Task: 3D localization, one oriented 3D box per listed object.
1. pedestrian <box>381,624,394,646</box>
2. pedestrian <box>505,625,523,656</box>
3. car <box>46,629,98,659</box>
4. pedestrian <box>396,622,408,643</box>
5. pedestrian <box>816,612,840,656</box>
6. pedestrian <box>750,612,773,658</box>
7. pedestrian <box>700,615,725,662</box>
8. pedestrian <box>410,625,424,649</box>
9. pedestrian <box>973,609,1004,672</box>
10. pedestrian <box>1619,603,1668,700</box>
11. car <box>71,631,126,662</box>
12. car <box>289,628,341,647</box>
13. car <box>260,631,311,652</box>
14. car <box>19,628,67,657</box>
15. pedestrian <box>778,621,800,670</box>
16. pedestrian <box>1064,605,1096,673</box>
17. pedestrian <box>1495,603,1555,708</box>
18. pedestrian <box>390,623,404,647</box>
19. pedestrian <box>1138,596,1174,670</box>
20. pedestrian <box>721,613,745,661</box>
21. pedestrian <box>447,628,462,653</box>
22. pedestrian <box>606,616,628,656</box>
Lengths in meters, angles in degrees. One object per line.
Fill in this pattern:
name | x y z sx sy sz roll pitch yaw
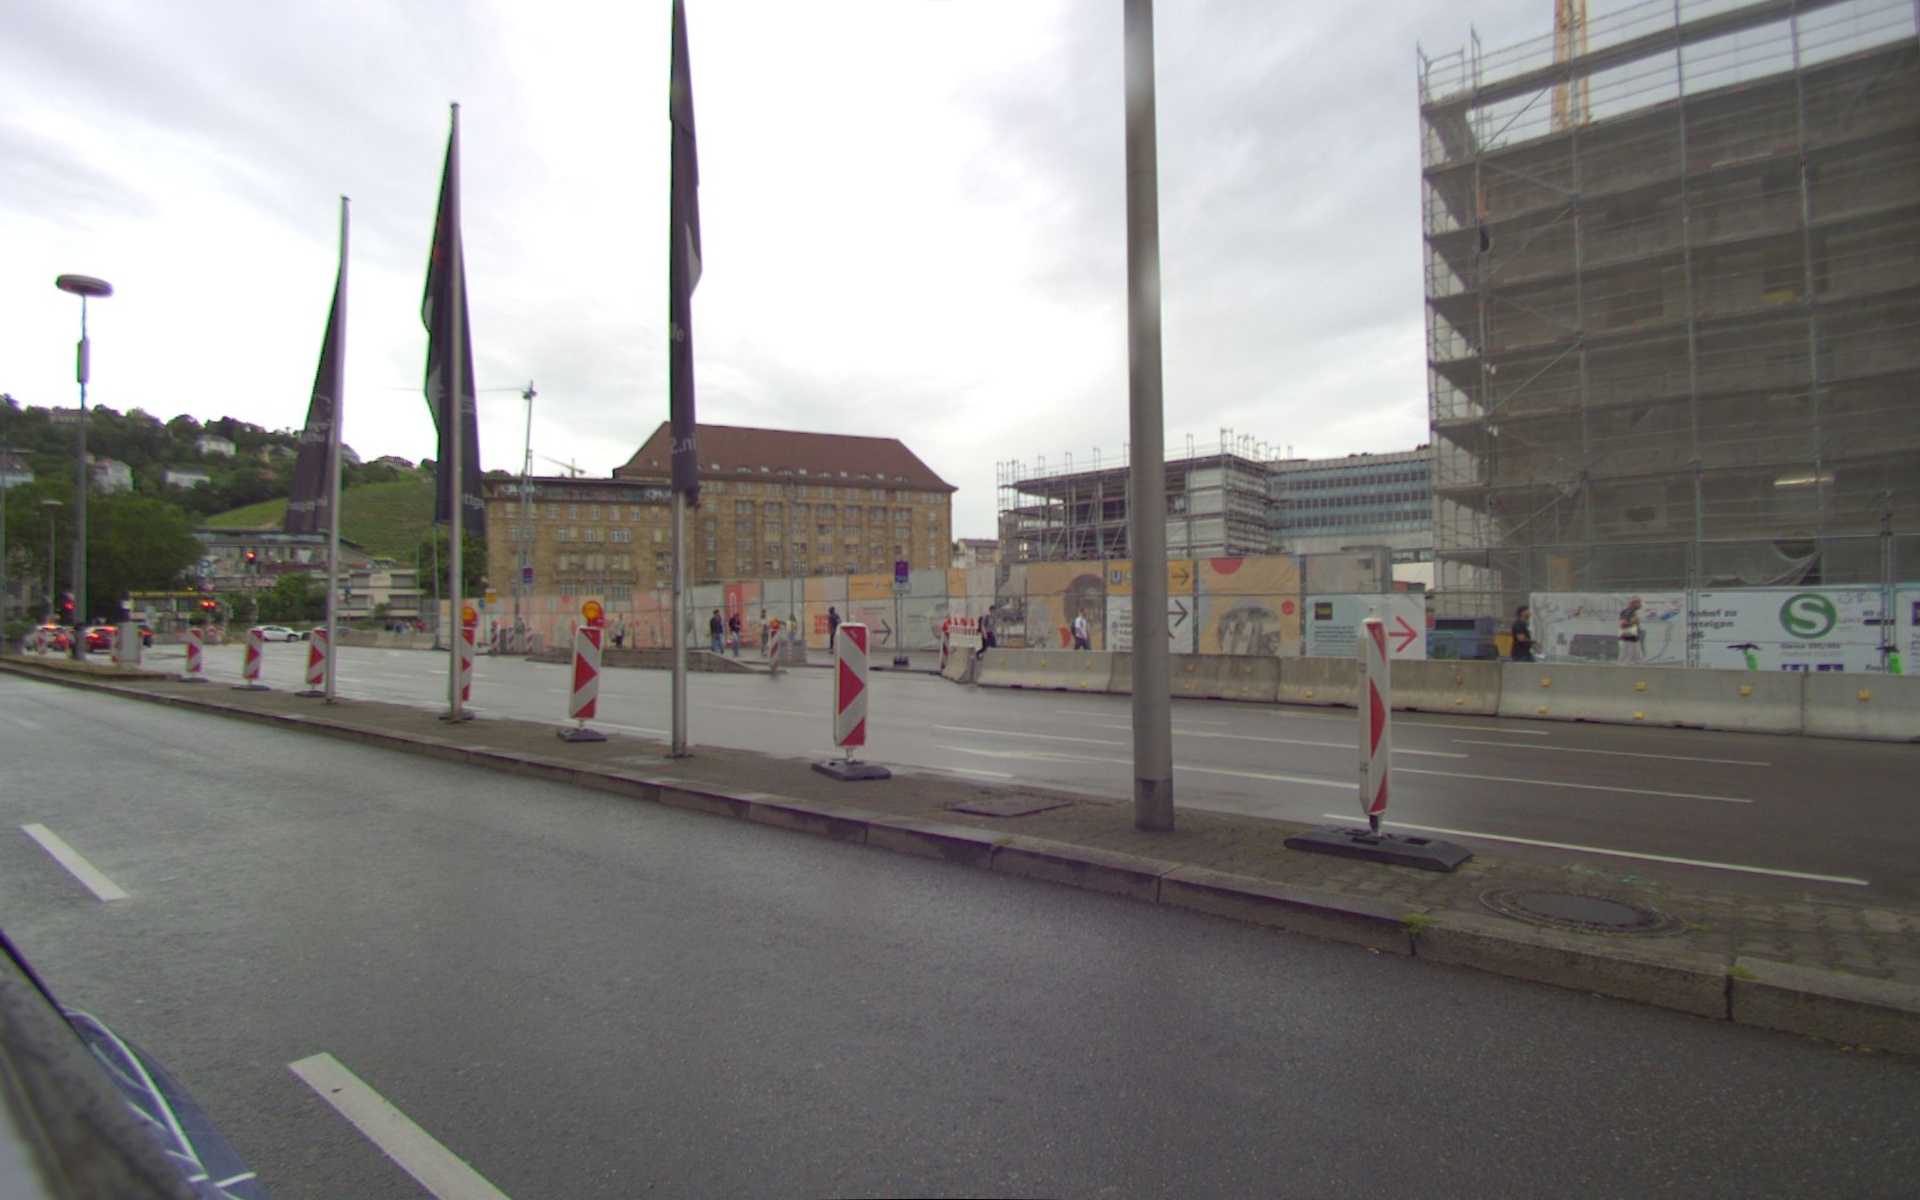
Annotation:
pedestrian | -42.344 2.596 74.856 0.544 1.628 0.706 -1 0 41
pedestrian | -24.162 2.203 54.850 0.544 1.628 0.706 -1 0 41
car | -54.263 2.643 61.816 3.913 1.707 1.763 -1 0 40
pedestrian | -44.336 2.560 80.380 0.544 1.628 0.706 -1 0 41
pedestrian | -5.062 1.290 38.801 0.544 1.628 0.706 -1 0 41
pedestrian | -7.619 1.340 38.884 0.704 1.757 0.565 -1 0 -29
pedestrian | -9.268 1.433 37.948 0.704 1.746 0.719 -1 0 -31
pedestrian | -37.097 2.512 69.138 0.544 1.628 0.706 -1 0 41
pedestrian | 0.855 1.193 30.385 0.717 1.850 0.579 -1 0 41
pedestrian | 13.300 0.982 19.689 0.717 1.850 0.475 -1 0 41
car | -48.580 2.588 57.052 3.914 1.707 1.762 -2 -2 41
car | -58.732 3.424 92.162 3.934 1.644 2.005 0 -2 -36
car | -68.854 4.209 103.359 4.136 1.871 1.833 -1 0 -44
car | -59.505 2.737 65.680 3.913 1.707 1.763 -1 0 40
pedestrian | -6.548 1.747 38.821 0.651 1.850 0.557 -1 0 -29
pedestrian | 3.339 1.074 28.254 0.717 1.850 0.475 -1 0 41
pedestrian | 10.230 0.983 18.317 0.819 1.850 0.572 -1 0 41
pedestrian | -38.536 2.412 69.271 0.544 1.628 0.706 -1 0 41
pedestrian | 5.001 0.843 25.817 0.717 1.850 0.475 -1 0 41
pedestrian | -8.860 1.434 39.453 0.704 1.850 0.719 -1 0 -31
pedestrian | -32.544 2.601 65.102 0.544 1.628 0.706 -1 0 41
pedestrian | -15.949 1.675 47.052 0.720 1.850 0.656 -1 0 41
